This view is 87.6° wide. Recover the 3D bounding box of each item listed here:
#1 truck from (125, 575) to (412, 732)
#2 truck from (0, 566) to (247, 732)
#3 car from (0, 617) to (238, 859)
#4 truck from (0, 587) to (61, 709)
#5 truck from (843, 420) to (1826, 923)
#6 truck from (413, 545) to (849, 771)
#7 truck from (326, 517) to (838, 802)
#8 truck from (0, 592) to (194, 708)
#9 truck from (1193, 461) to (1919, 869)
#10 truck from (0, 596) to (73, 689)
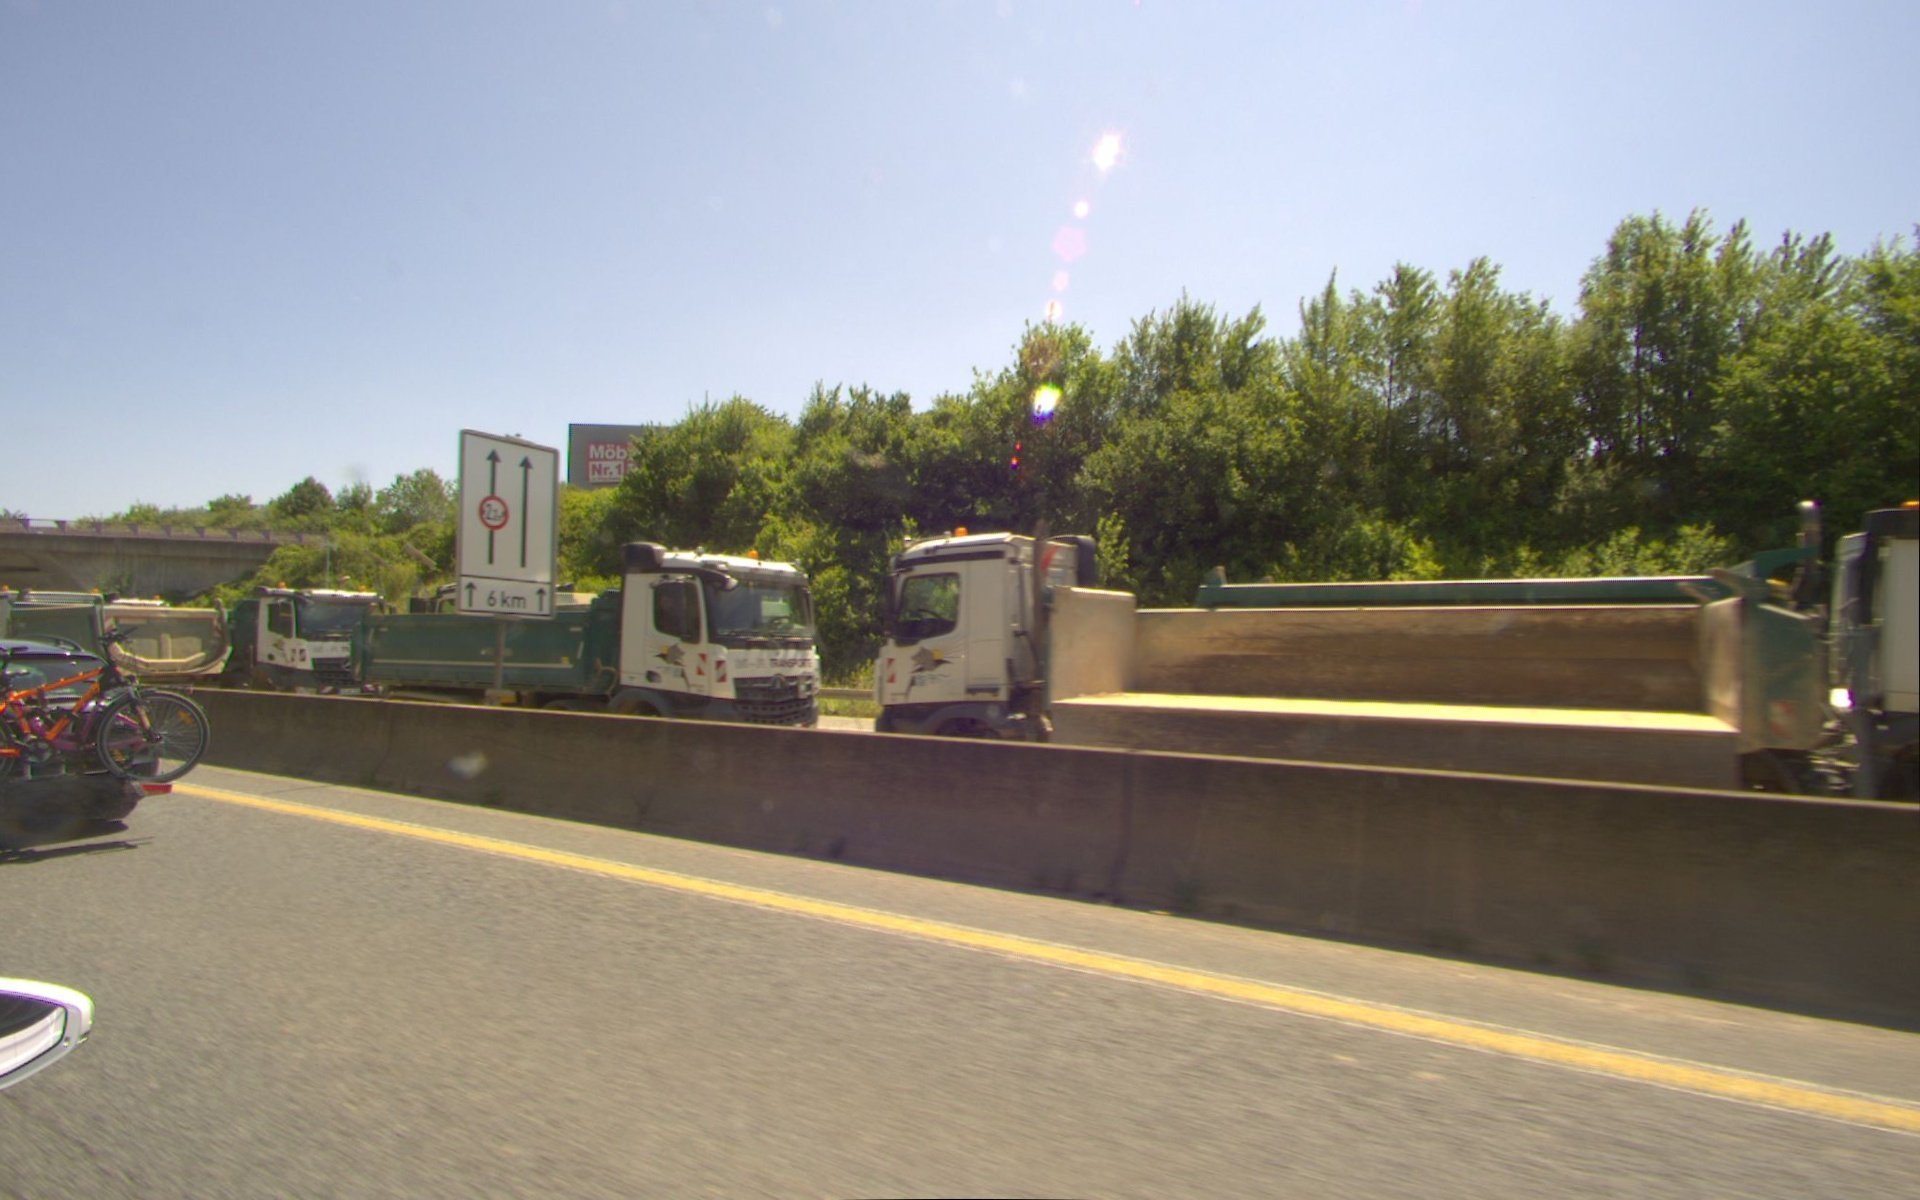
[{"bbox_3d":[-18.510,1.333,26.536,9.464,3.602,2.683,-1,-2,32],"label":"truck"},{"bbox_3d":[-21.879,1.183,25.437,9.464,3.602,2.683,-1,-2,32],"label":"truck"},{"bbox_3d":[-7.862,0.930,7.869,4.878,1.509,1.896,-1,-3,33],"label":"car"},{"bbox_3d":[-32.242,1.473,32.112,9.273,3.602,2.683,-1,-2,33],"label":"truck"},{"bbox_3d":[3.026,0.603,10.509,8.815,3.556,2.529,-1,-2,32],"label":"truck"},{"bbox_3d":[-6.743,1.026,19.639,9.464,3.602,2.683,-1,-2,32],"label":"truck"},{"bbox_3d":[-6.494,0.861,16.271,9.464,3.602,2.535,-1,-2,32],"label":"truck"},{"bbox_3d":[-29.044,1.574,33.235,9.467,3.421,2.682,-1,-2,33],"label":"truck"},{"bbox_3d":[7.031,0.641,11.159,8.259,3.555,2.683,-1,-2,32],"label":"truck"},{"bbox_3d":[-38.725,1.635,39.624,9.461,3.421,2.684,-1,-2,31],"label":"truck"}]
